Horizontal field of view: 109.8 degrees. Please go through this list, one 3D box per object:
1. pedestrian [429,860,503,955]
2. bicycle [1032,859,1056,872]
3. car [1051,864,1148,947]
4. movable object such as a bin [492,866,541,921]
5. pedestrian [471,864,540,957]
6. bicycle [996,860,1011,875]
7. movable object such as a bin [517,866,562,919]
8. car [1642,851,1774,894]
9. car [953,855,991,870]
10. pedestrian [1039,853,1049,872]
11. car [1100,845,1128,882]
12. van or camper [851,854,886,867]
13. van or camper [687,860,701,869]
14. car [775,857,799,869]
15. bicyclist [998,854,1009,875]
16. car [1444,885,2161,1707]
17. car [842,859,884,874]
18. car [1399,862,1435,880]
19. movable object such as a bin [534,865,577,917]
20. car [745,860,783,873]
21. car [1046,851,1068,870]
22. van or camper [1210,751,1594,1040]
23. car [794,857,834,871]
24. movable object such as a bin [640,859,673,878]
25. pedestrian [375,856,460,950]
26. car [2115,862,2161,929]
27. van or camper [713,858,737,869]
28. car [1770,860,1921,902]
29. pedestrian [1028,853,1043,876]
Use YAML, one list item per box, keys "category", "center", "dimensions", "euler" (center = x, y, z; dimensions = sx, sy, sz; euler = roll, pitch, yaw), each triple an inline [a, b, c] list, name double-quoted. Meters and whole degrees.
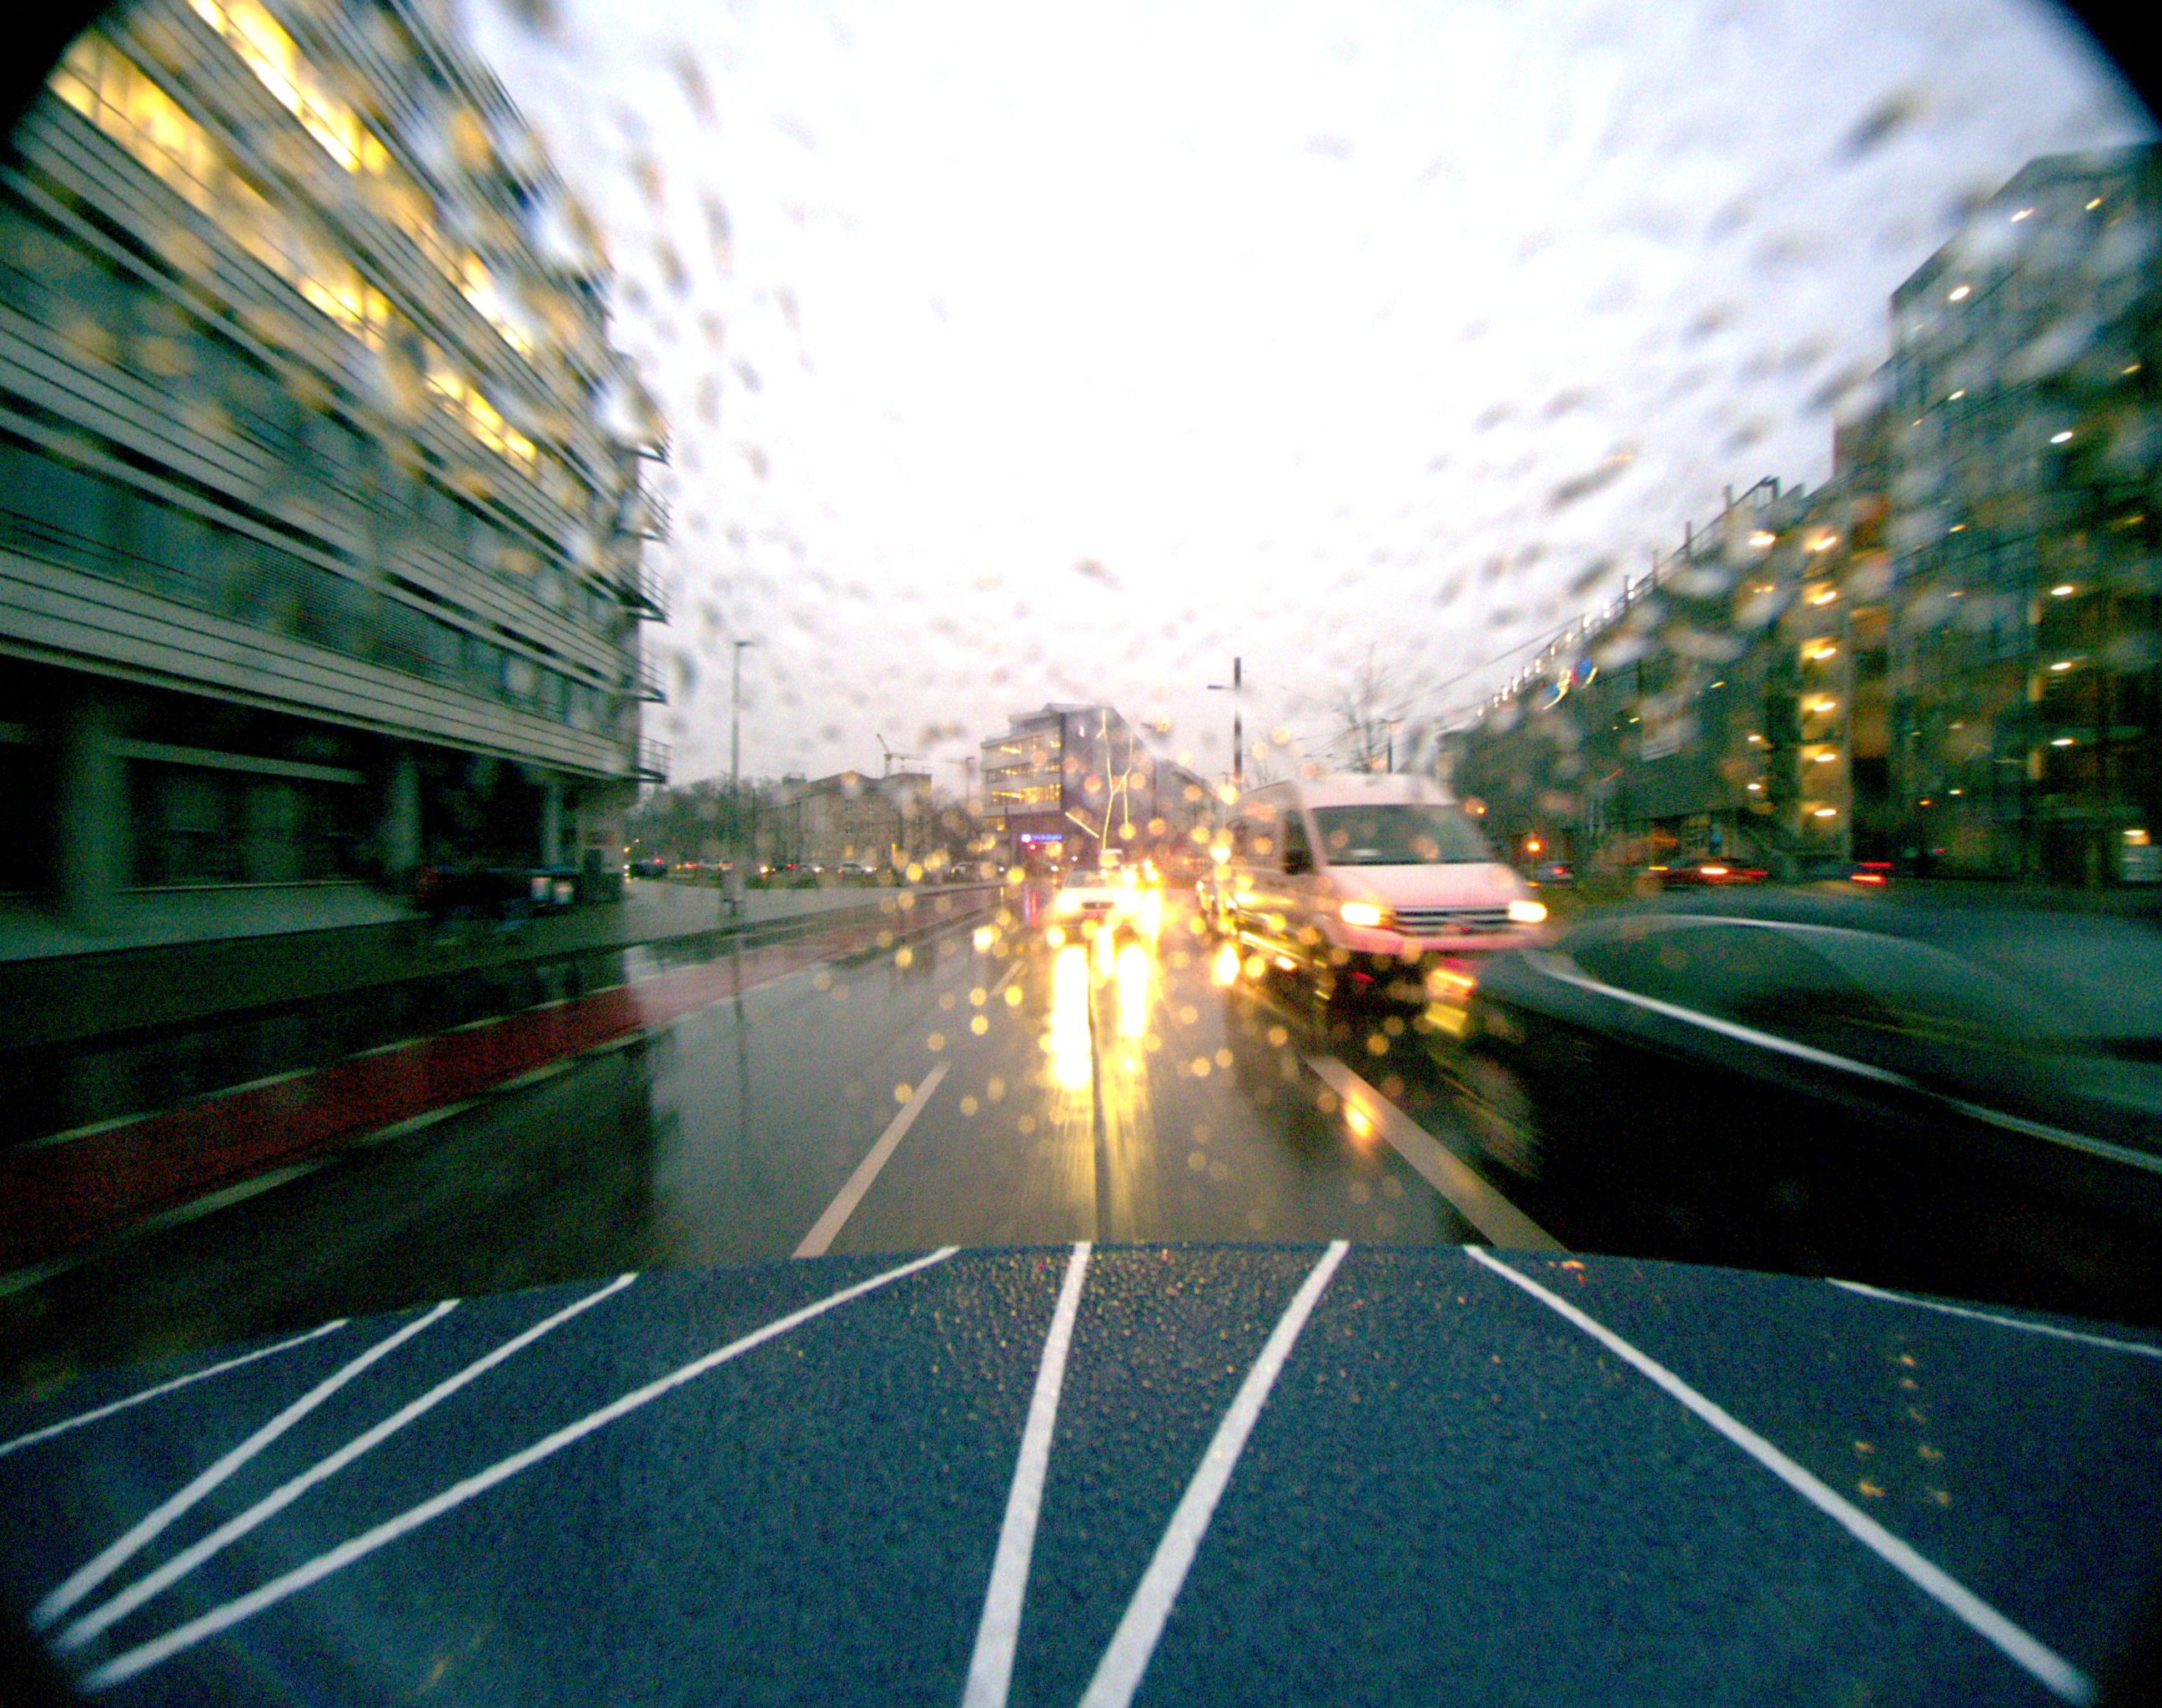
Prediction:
- category: "pedestrian"
  center: [-11.359, 0.964, 14.065]
  dimensions: [0.651, 1.692, 0.884]
  euler: [1, 0, -5]
- category: "bicycle"
  center: [-3.558, 1.075, 72.201]
  dimensions: [2.203, 1.182, 0.668]
  euler: [0, 1, 5]
- category: "car"
  center: [0.294, 0.997, 16.226]
  dimensions: [1.782, 1.464, 3.942]
  euler: [-2, 0, -2]
- category: "movable object such as a bin"
  center: [-14.887, 1.026, 20.057]
  dimensions: [0.666, 1.420, 0.840]
  euler: [-1, 0, -5]
- category: "pedestrian"
  center: [-10.676, 1.026, 14.125]
  dimensions: [0.616, 1.659, 0.884]
  euler: [1, 0, -5]
- category: "bicycle"
  center: [-6.638, 1.145, 64.914]
  dimensions: [0.682, 1.191, 1.757]
  euler: [-1, 0, -25]
- category: "movable object such as a bin"
  center: [-14.918, 1.044, 20.953]
  dimensions: [0.666, 1.420, 0.840]
  euler: [-1, 0, -5]
- category: "car"
  center: [22.437, 0.608, 27.413]
  dimensions: [1.791, 1.412, 3.901]
  euler: [-1, 0, 5]
- category: "car"
  center: [-12.397, 0.978, 86.306]
  dimensions: [3.919, 1.699, 1.782]
  euler: [-1, 0, 12]
- category: "pedestrian"
  center: [-3.513, 0.791, 72.195]
  dimensions: [0.892, 1.783, 0.668]
  euler: [0, 1, 5]
- category: "car"
  center: [2.723, 0.756, 61.520]
  dimensions: [2.129, 2.847, 5.815]
  euler: [-1, 0, 4]
- category: "van or camper"
  center: [-29.437, 0.912, 105.337]
  dimensions: [4.367, 1.840, 2.003]
  euler: [-1, 0, 19]
- category: "van or camper"
  center: [-68.936, 1.844, 135.319]
  dimensions: [1.812, 1.689, 3.827]
  euler: [-1, 0, -31]
- category: "car"
  center: [-42.717, 1.318, 110.394]
  dimensions: [3.258, 1.671, 1.604]
  euler: [-1, 0, 30]
- category: "bicyclist"
  center: [-6.594, 0.869, 64.813]
  dimensions: [0.673, 1.787, 0.804]
  euler: [-1, 0, -27]
- category: "car"
  center: [2.710, 0.835, 1.843]
  dimensions: [1.759, 1.337, 4.056]
  euler: [-1, 0, 1]
- category: "car"
  center: [-25.820, 1.454, 89.998]
  dimensions: [4.369, 1.750, 2.002]
  euler: [-1, 0, 14]
- category: "car"
  center: [27.854, 1.385, 63.178]
  dimensions: [1.790, 1.412, 3.902]
  euler: [-1, 0, 9]
- category: "movable object such as a bin"
  center: [-15.119, 1.052, 21.875]
  dimensions: [0.666, 1.468, 0.840]
  euler: [-1, 0, -5]
- category: "car"
  center: [-39.499, 1.543, 94.670]
  dimensions: [3.997, 1.496, 2.002]
  euler: [-1, 0, 14]
- category: "car"
  center: [-2.498, 0.678, 79.128]
  dimensions: [2.170, 1.744, 4.539]
  euler: [1, 2, -2]
- category: "van or camper"
  center: [3.350, 0.360, 9.650]
  dimensions: [2.154, 2.517, 5.897]
  euler: [-1, 0, -3]
- category: "car"
  center: [-32.353, 1.220, 92.095]
  dimensions: [3.997, 1.663, 2.002]
  euler: [-1, 0, 14]
- category: "movable object such as a bin"
  center: [-40.371, 1.324, 72.344]
  dimensions: [2.697, 1.734, 2.547]
  euler: [-1, 0, -28]
- category: "pedestrian"
  center: [-12.566, 0.907, 14.420]
  dimensions: [0.747, 1.692, 0.968]
  euler: [2, 0, -5]
- category: "car"
  center: [21.193, 0.781, 12.708]
  dimensions: [1.844, 1.230, 4.373]
  euler: [-1, 0, 0]
- category: "van or camper"
  center: [-56.289, 1.526, 120.100]
  dimensions: [3.826, 1.689, 1.813]
  euler: [-1, 0, 38]
- category: "car"
  center: [28.407, 0.954, 28.430]
  dimensions: [1.791, 1.412, 3.899]
  euler: [-1, 0, 2]
- category: "pedestrian"
  center: [-4.016, 0.932, 67.151]
  dimensions: [1.119, 2.002, 1.034]
  euler: [0, 1, 13]
